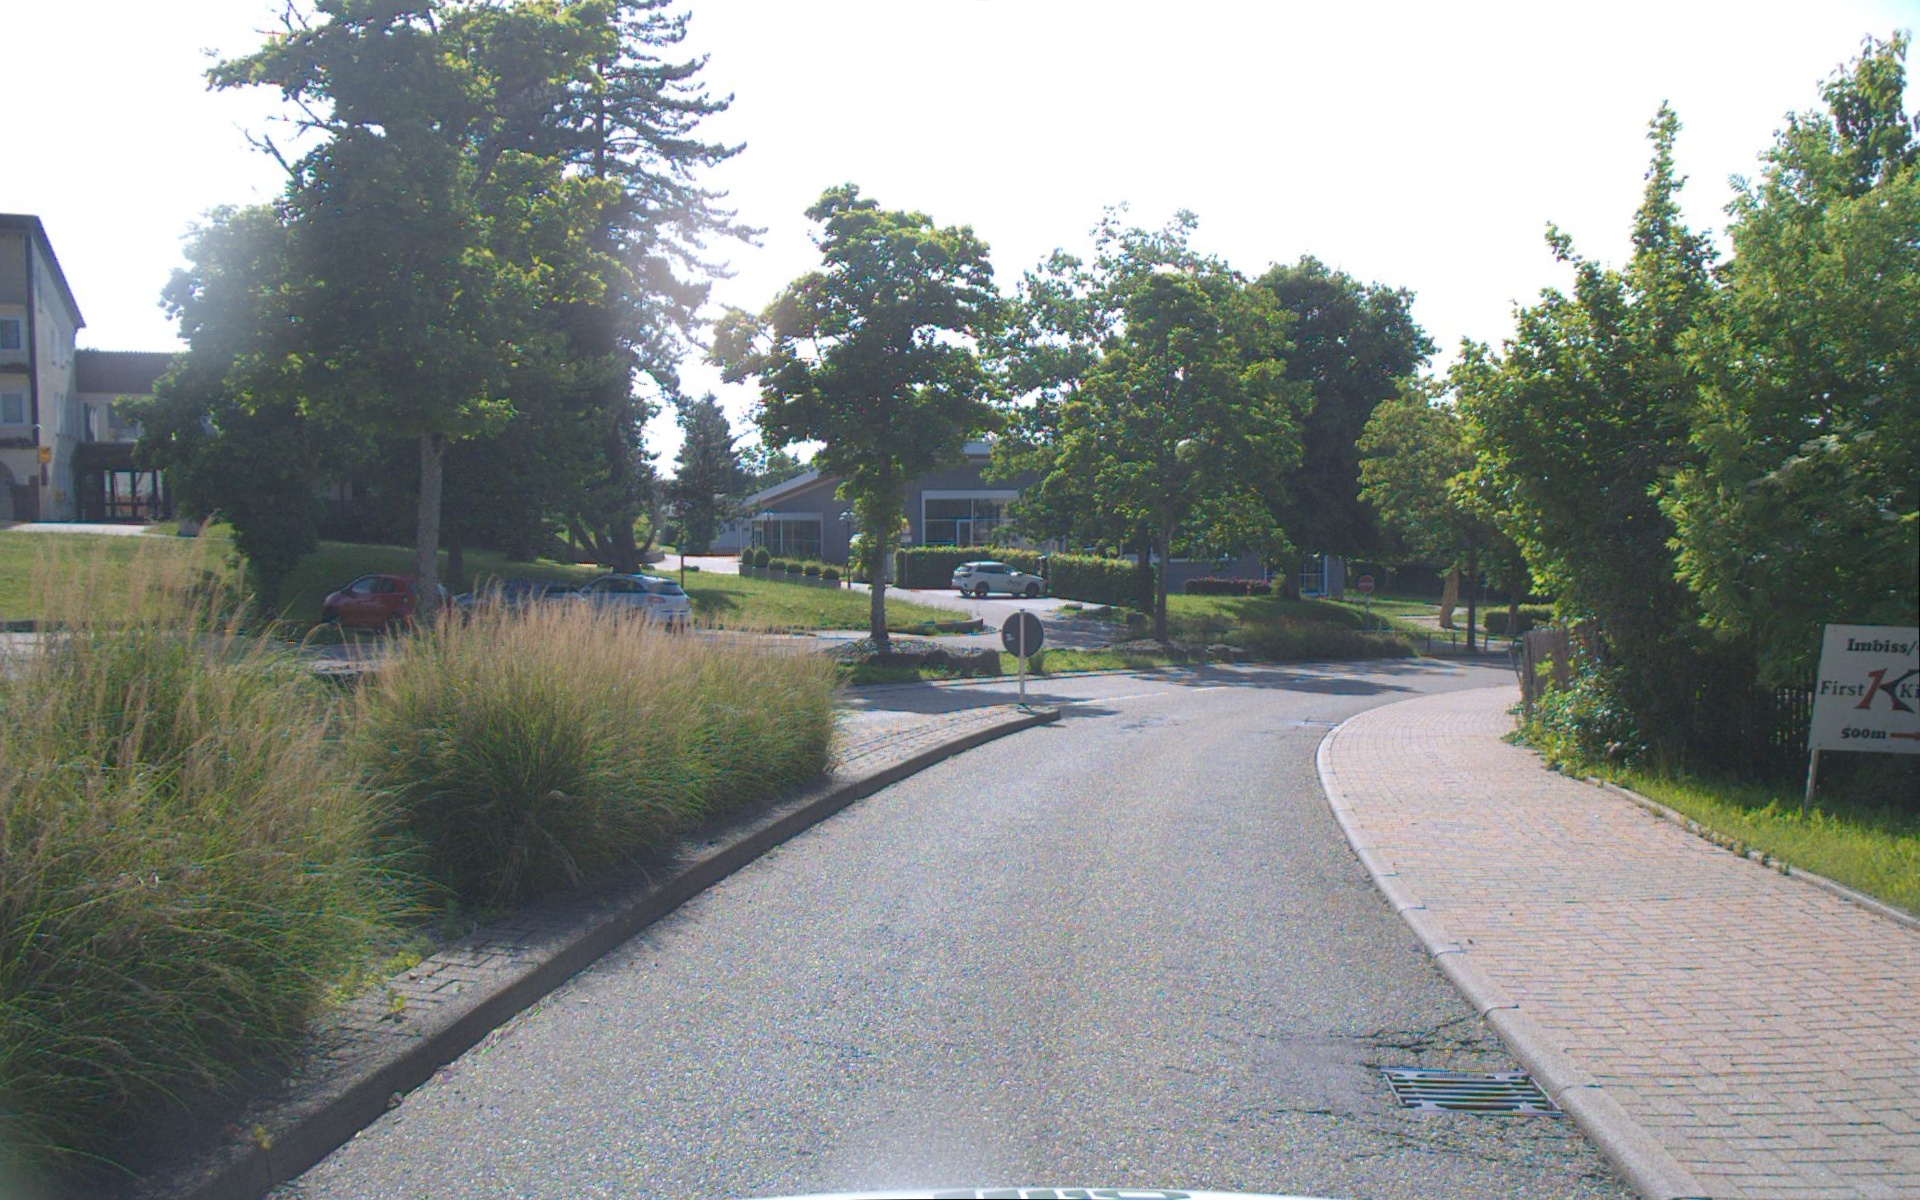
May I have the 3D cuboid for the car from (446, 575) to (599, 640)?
[{"bbox_3d":[-11.227,0.178,42.427,3.636,1.458,1.771,3,1,33],"label":"car"}]

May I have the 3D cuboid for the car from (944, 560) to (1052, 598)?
[{"bbox_3d":[1.781,-1.004,77.063,4.655,1.560,1.986,-1,6,-25],"label":"car"}]

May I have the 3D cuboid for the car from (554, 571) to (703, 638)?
[{"bbox_3d":[-9.245,0.112,46.016,3.858,1.637,1.772,3,1,32],"label":"car"}]

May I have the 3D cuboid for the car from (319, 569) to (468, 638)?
[{"bbox_3d":[-13.703,0.082,39.983,3.139,1.496,1.772,3,1,31],"label":"car"}]

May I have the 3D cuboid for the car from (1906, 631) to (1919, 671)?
[{"bbox_3d":[36.792,1.941,62.041,1.681,1.452,3.987,2,0,39],"label":"car"}]
